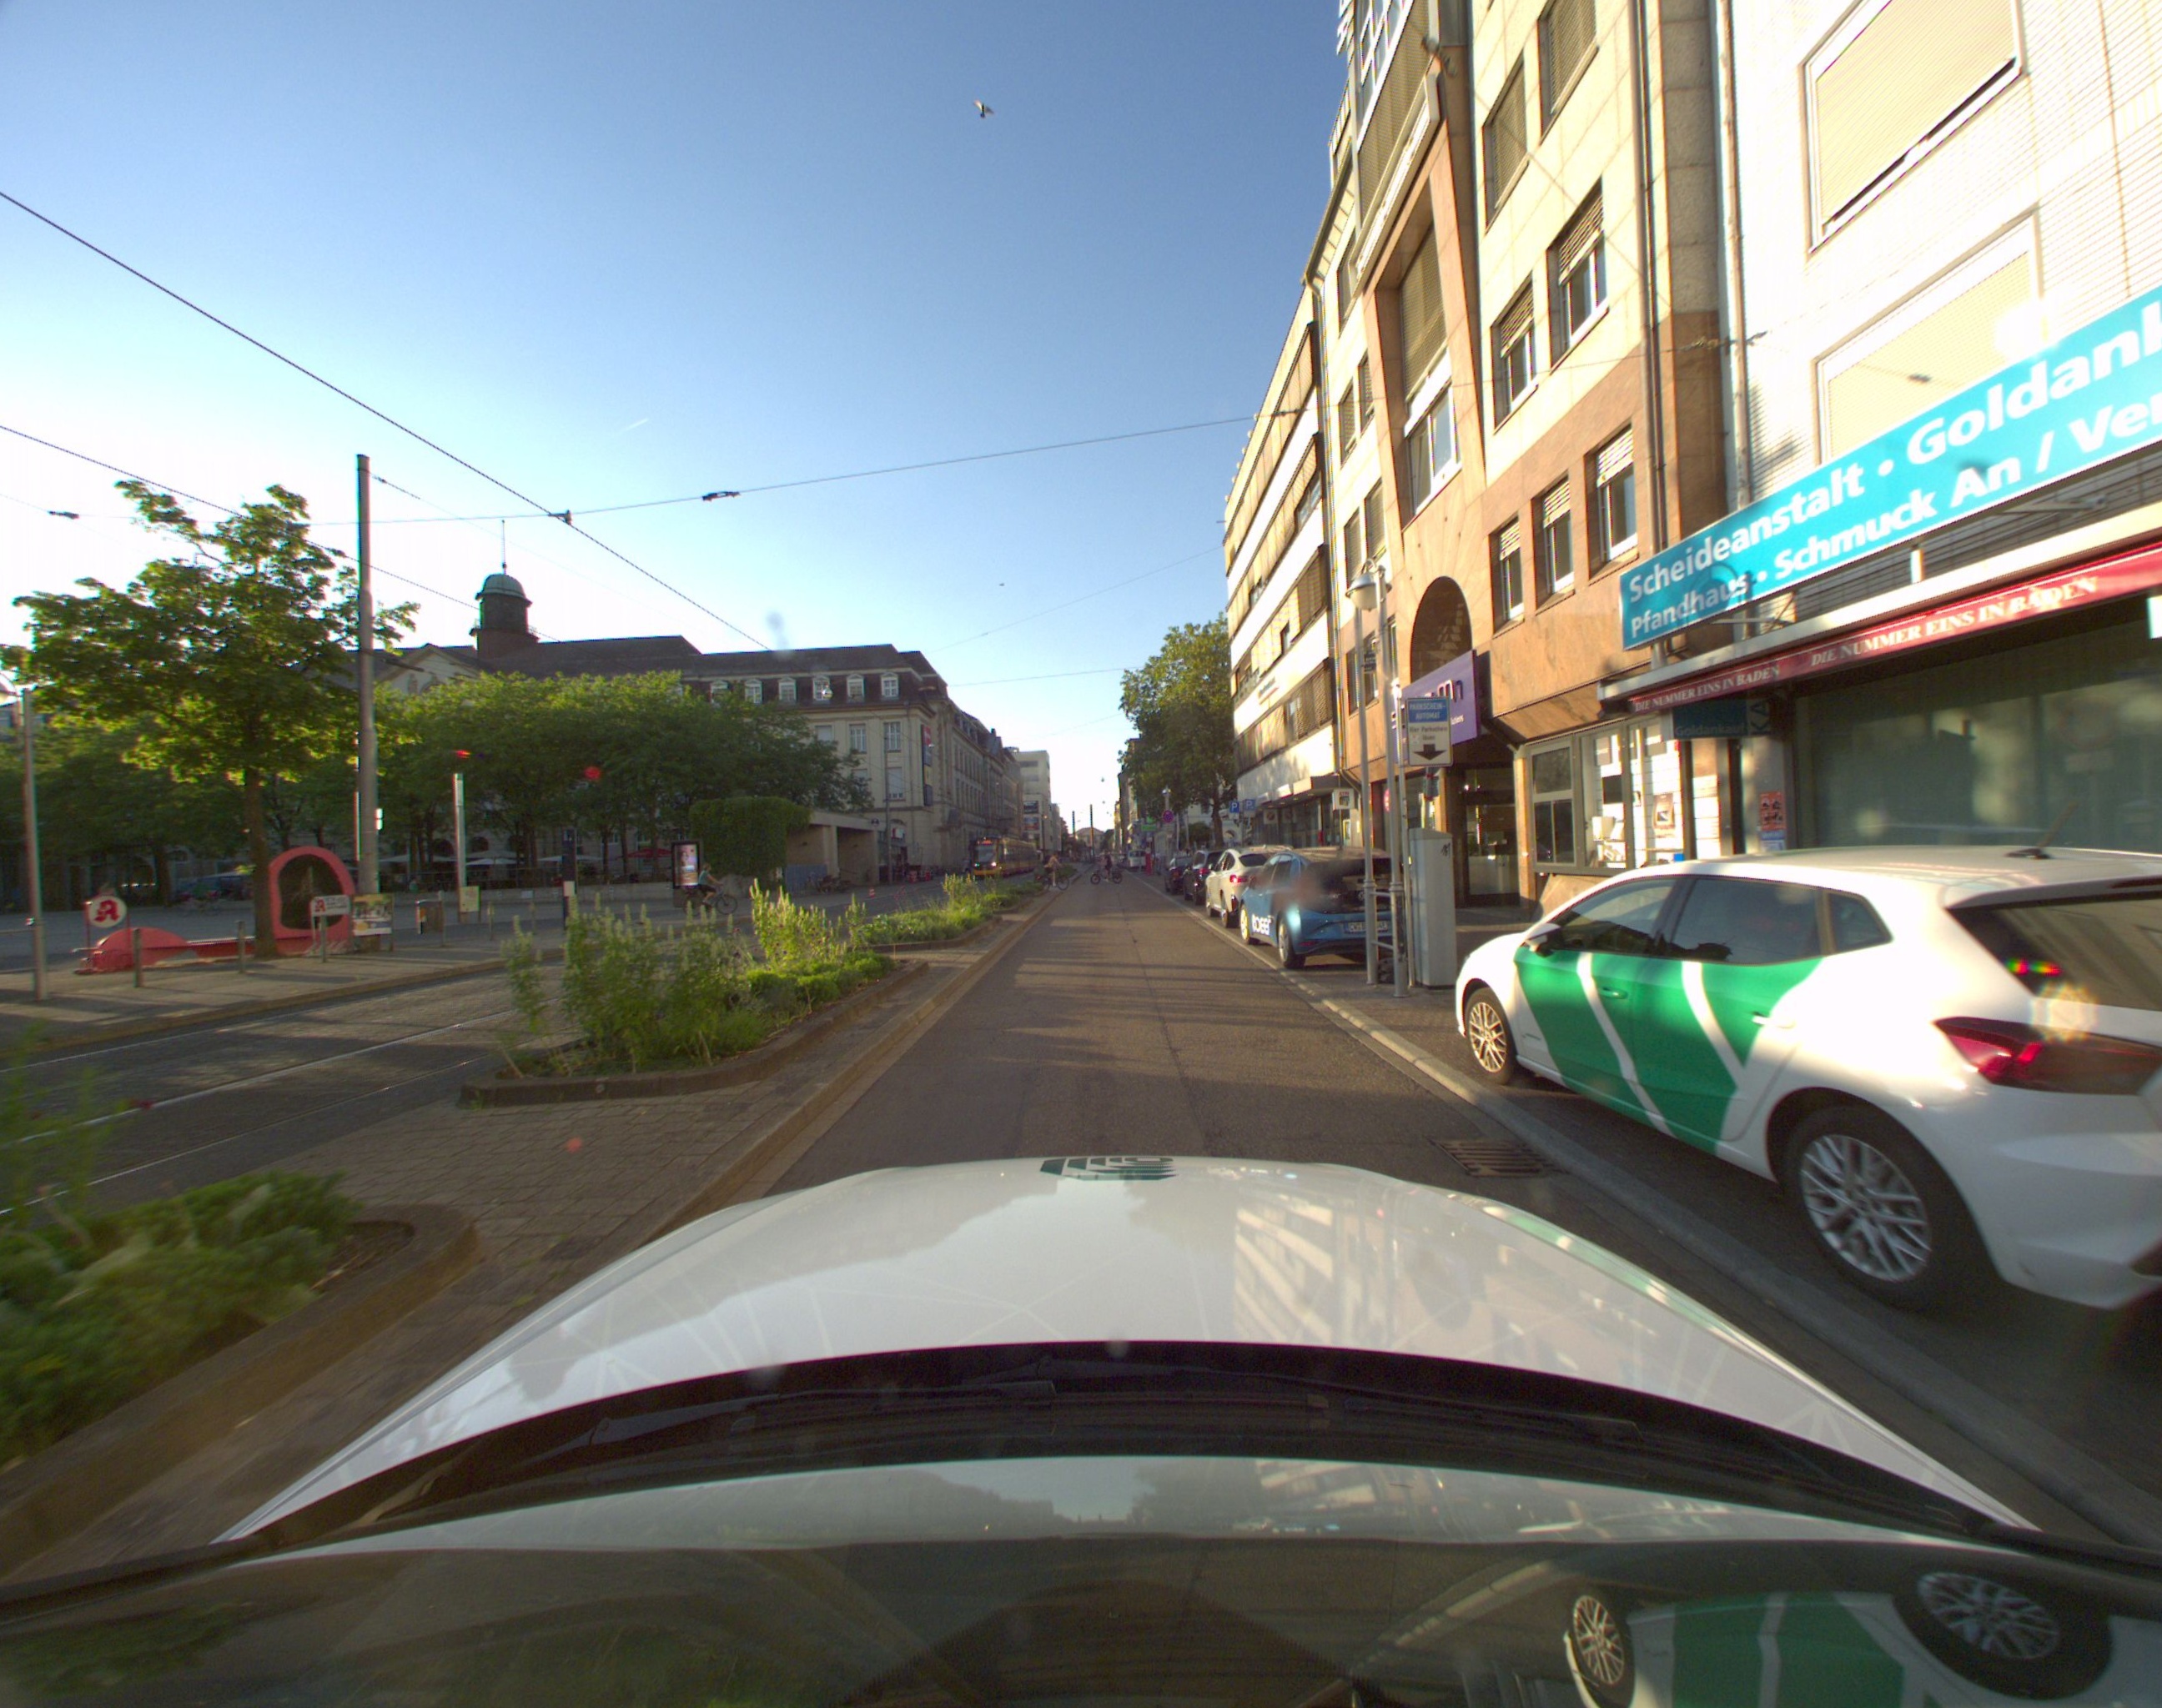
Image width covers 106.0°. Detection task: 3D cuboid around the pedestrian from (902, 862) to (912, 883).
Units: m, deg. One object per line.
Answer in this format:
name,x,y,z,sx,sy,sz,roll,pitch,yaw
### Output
pedestrian,-14.061,1.496,65.749,0.717,1.646,0.655,-1,-1,-21

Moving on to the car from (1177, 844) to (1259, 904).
car,4.098,0.524,24.957,1.769,1.538,4.579,-3,1,1

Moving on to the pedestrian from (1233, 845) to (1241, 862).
pedestrian,12.238,-0.013,64.038,0.473,1.285,0.528,-3,-2,18

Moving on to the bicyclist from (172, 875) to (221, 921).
bicyclist,-39.916,1.975,36.775,0.955,2.018,1.143,-2,-2,0

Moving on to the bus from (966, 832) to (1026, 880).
bus,-7.184,0.166,71.947,2.812,3.651,17.079,-3,0,2

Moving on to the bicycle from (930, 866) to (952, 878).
bicycle,-14.213,1.820,82.652,2.073,1.148,0.574,-2,-2,-4

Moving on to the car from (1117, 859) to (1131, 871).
car,6.677,1.772,127.603,1.986,1.667,4.421,-3,-2,1

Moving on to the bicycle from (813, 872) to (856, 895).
bicycle,-14.098,1.690,46.653,2.233,1.232,0.585,-3,-1,1

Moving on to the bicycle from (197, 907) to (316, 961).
bicycle,-20.066,1.931,19.867,1.934,1.112,0.456,-3,-1,-30

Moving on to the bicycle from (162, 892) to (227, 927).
bicycle,-39.998,2.509,36.764,2.234,1.476,0.579,-2,-1,0

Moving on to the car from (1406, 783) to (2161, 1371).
car,3.361,0.565,4.107,1.725,1.435,4.151,-3,-2,0

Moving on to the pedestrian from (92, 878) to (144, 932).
pedestrian,-38.984,2.048,32.990,0.935,2.061,0.930,-2,0,-4

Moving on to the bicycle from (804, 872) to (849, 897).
bicycle,-14.046,1.675,44.979,2.233,1.255,0.580,-3,-2,1

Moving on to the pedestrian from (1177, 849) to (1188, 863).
pedestrian,9.796,0.166,78.512,0.899,1.306,0.966,-2,-2,0

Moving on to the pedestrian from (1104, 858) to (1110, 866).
pedestrian,6.082,1.945,191.635,1.231,1.928,1.017,-2,-1,-15

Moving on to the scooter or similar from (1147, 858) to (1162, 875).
scooter or similar,5.742,0.980,63.441,1.120,1.216,0.300,-4,-1,2

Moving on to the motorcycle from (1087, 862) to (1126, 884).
motorcycle,1.406,1.078,45.352,2.043,1.123,0.566,-2,-2,-8

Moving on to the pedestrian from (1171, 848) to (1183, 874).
pedestrian,6.684,0.491,56.926,0.711,1.803,0.825,-4,-1,4

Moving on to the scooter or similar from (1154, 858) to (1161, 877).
scooter or similar,5.240,0.910,55.770,0.313,1.221,1.275,-2,0,9

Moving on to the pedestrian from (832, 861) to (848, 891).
pedestrian,-16.201,1.482,54.698,0.721,1.934,0.793,-3,-2,4

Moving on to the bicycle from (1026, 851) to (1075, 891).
bicycle,-1.402,0.770,37.388,2.381,1.740,0.596,-2,0,-43

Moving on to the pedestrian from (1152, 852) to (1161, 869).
pedestrian,8.126,0.673,87.708,0.785,1.751,0.893,-2,-2,-6

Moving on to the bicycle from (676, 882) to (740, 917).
bicycle,-12.900,1.573,28.205,1.946,1.112,0.455,-1,-2,-39

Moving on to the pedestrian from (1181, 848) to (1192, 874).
pedestrian,7.182,0.472,55.612,0.611,1.717,0.662,-3,-2,3

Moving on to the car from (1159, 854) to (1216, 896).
car,4.100,0.773,31.871,1.649,1.380,4.342,-6,0,1

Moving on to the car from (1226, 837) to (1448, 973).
car,3.496,0.618,12.181,1.803,1.552,4.836,-2,0,1

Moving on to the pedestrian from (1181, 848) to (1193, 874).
pedestrian,7.140,0.450,54.931,0.675,1.717,0.655,-3,-2,3

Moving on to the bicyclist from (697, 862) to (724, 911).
bicyclist,-12.845,1.137,28.236,0.708,1.668,0.621,-1,-3,-37

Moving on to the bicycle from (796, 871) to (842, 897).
bicycle,-13.965,1.598,43.452,2.189,1.300,0.580,-3,-2,1

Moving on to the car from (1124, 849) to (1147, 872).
car,5.106,0.631,76.686,1.908,1.981,4.422,-3,-1,1

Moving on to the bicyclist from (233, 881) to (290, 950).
bicyclist,-20.045,1.495,19.936,0.805,1.611,0.732,-1,-2,-30

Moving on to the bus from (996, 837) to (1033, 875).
bus,-6.797,0.246,84.607,2.812,3.625,8.291,-3,-1,2

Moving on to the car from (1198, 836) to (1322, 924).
car,3.727,0.498,17.791,1.809,1.585,4.726,-2,0,2

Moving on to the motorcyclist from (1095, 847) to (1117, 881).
motorcyclist,1.397,0.582,45.376,1.001,1.813,0.957,-2,-2,-7

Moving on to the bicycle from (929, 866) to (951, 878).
bicycle,-14.168,1.797,81.985,2.093,1.148,0.574,-2,-2,-4

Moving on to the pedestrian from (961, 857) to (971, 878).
pedestrian,-10.376,1.182,73.353,0.690,1.847,0.662,-2,-2,1

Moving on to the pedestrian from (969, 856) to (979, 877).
pedestrian,-9.636,1.159,73.199,0.730,1.840,0.715,-3,-2,1

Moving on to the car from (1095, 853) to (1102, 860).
car,5.028,0.824,231.004,1.754,1.827,3.570,-3,-2,1

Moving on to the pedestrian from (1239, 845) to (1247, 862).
pedestrian,12.668,-0.051,63.619,0.470,1.285,0.542,-3,-2,17

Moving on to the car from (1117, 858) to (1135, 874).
car,5.551,1.486,101.459,1.986,1.761,4.422,-3,-1,1

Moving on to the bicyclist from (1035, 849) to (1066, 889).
bicyclist,-1.405,0.677,37.394,0.937,1.776,0.959,-2,-1,-43

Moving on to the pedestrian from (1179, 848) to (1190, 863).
pedestrian,9.841,0.132,77.499,0.899,1.314,0.966,-2,-2,0
